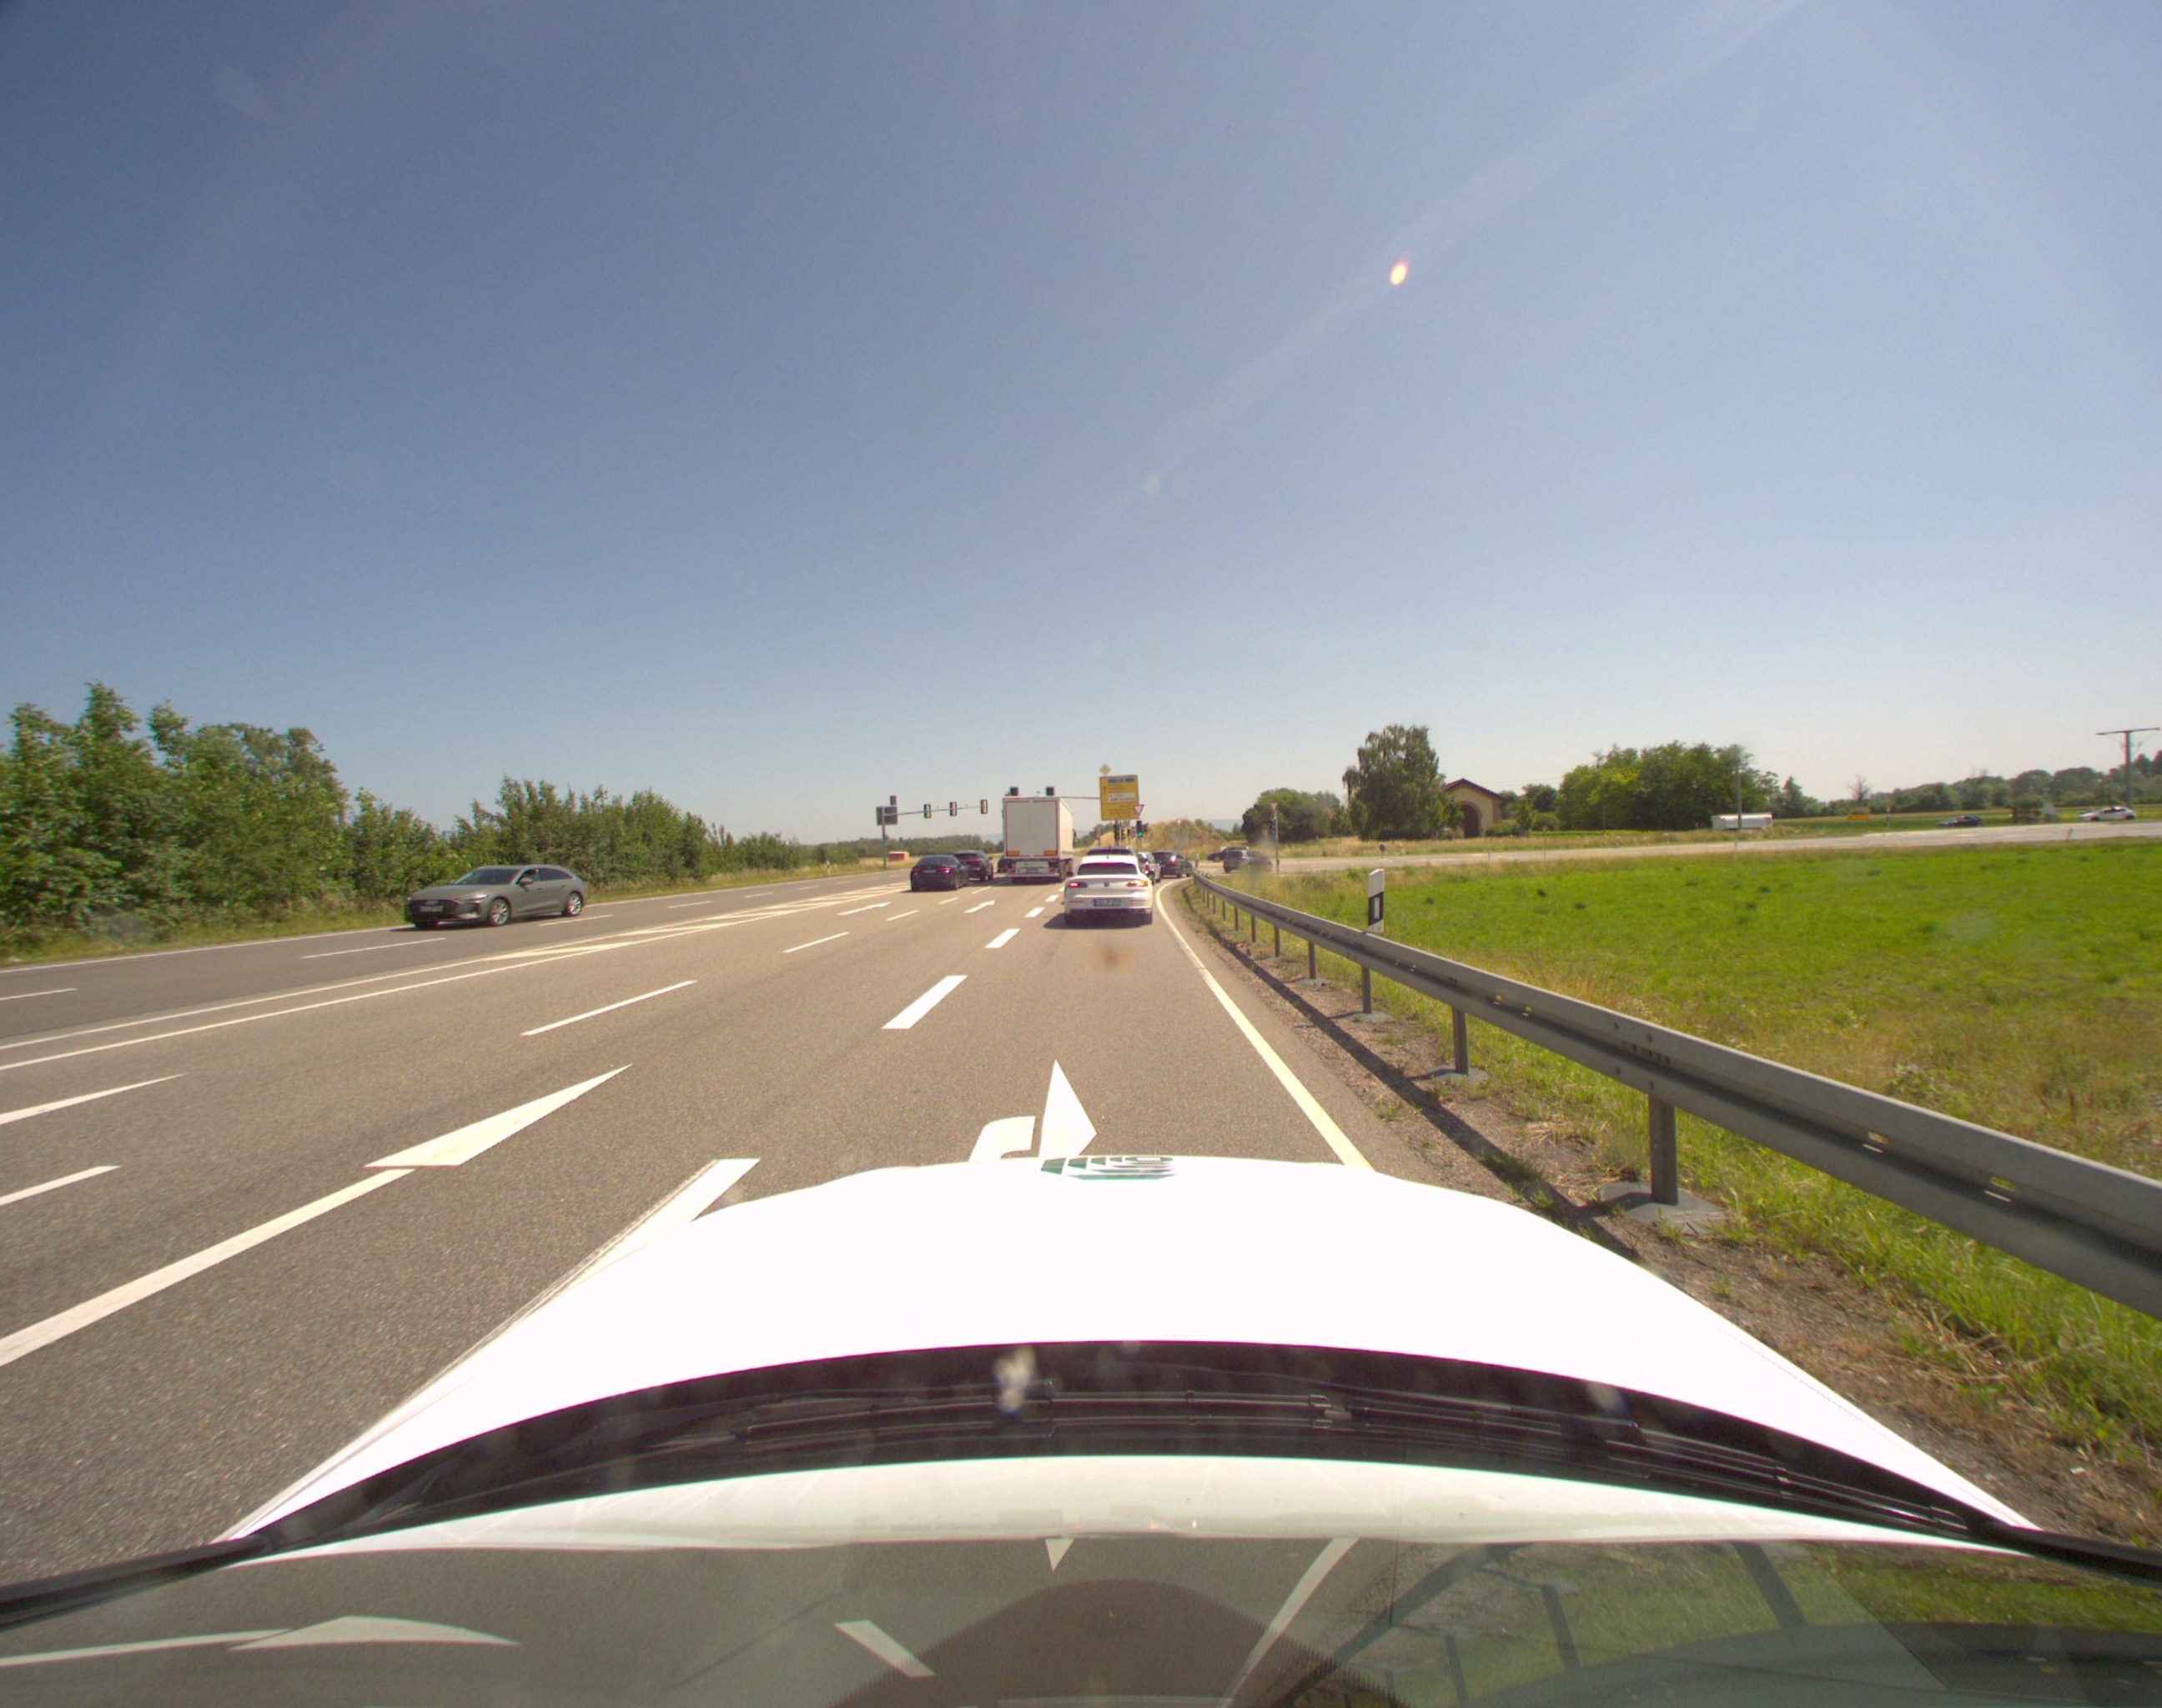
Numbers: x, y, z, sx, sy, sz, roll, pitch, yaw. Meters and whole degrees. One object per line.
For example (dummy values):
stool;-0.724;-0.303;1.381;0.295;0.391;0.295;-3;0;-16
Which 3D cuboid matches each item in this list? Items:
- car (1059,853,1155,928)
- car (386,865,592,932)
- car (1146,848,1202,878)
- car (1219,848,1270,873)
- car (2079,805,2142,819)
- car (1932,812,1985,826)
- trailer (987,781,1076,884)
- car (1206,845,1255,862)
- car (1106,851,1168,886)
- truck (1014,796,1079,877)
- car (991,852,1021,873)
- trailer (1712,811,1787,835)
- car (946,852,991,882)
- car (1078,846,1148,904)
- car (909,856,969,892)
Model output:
car;0.579;0.713;18.143;1.841;1.433;4.610;-1;0;2
car;-14.652;1.030;20.544;1.872;1.398;4.530;-1;0;-1
car;4.951;0.437;42.974;1.784;1.476;4.438;-1;0;22
car;10.718;0.409;53.250;1.782;1.522;3.907;-1;0;36
car;110.824;-4.496;87.694;3.986;1.332;1.707;0;3;43
car;97.635;-3.875;90.633;3.803;1.387;1.684;-2;2;9
trailer;-2.223;-0.964;42.527;3.368;4.542;12.878;-1;0;2
car;13.715;-0.048;74.940;4.240;1.368;1.778;-3;1;4
car;2.498;0.590;35.301;1.785;1.429;4.111;-1;0;17
truck;-1.958;-1.005;49.510;3.368;4.542;6.375;-1;0;2
car;-5.487;0.589;60.034;1.803;1.493;4.020;-1;0;0
trailer;78.479;-3.676;95.682;6.330;2.455;2.691;-3;2;6
car;-5.855;0.643;42.753;1.803;1.493;4.020;-1;0;0
car;1.085;0.601;25.331;1.925;1.616;4.385;-1;0;5
car;-5.913;0.784;34.288;1.803;1.398;4.020;-1;0;0
